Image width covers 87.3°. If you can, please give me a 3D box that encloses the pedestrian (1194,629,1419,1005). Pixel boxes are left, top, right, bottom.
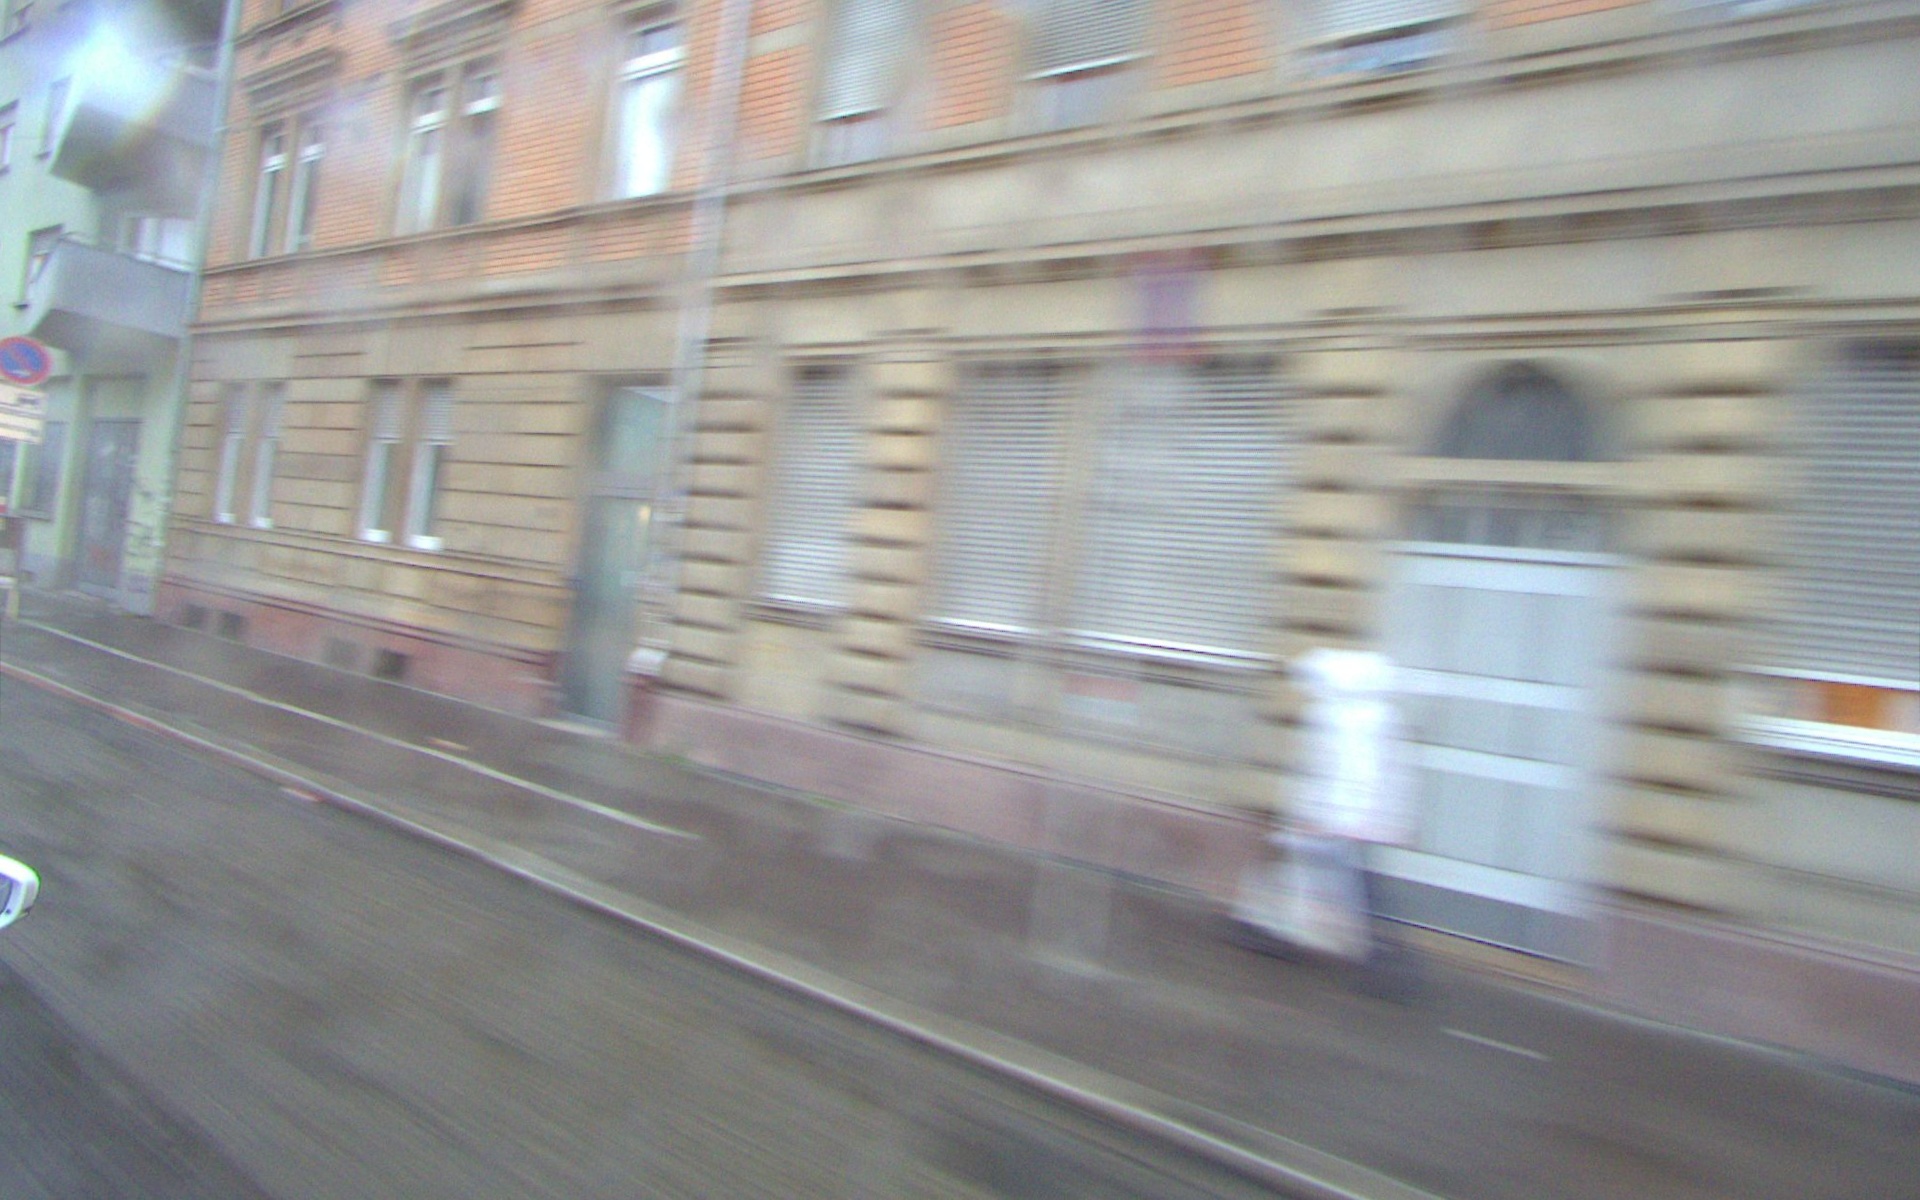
[{"bbox_3d":[1.755,1.016,5.047,0.730,1.616,0.787,7,0,33],"label":"pedestrian"}]
